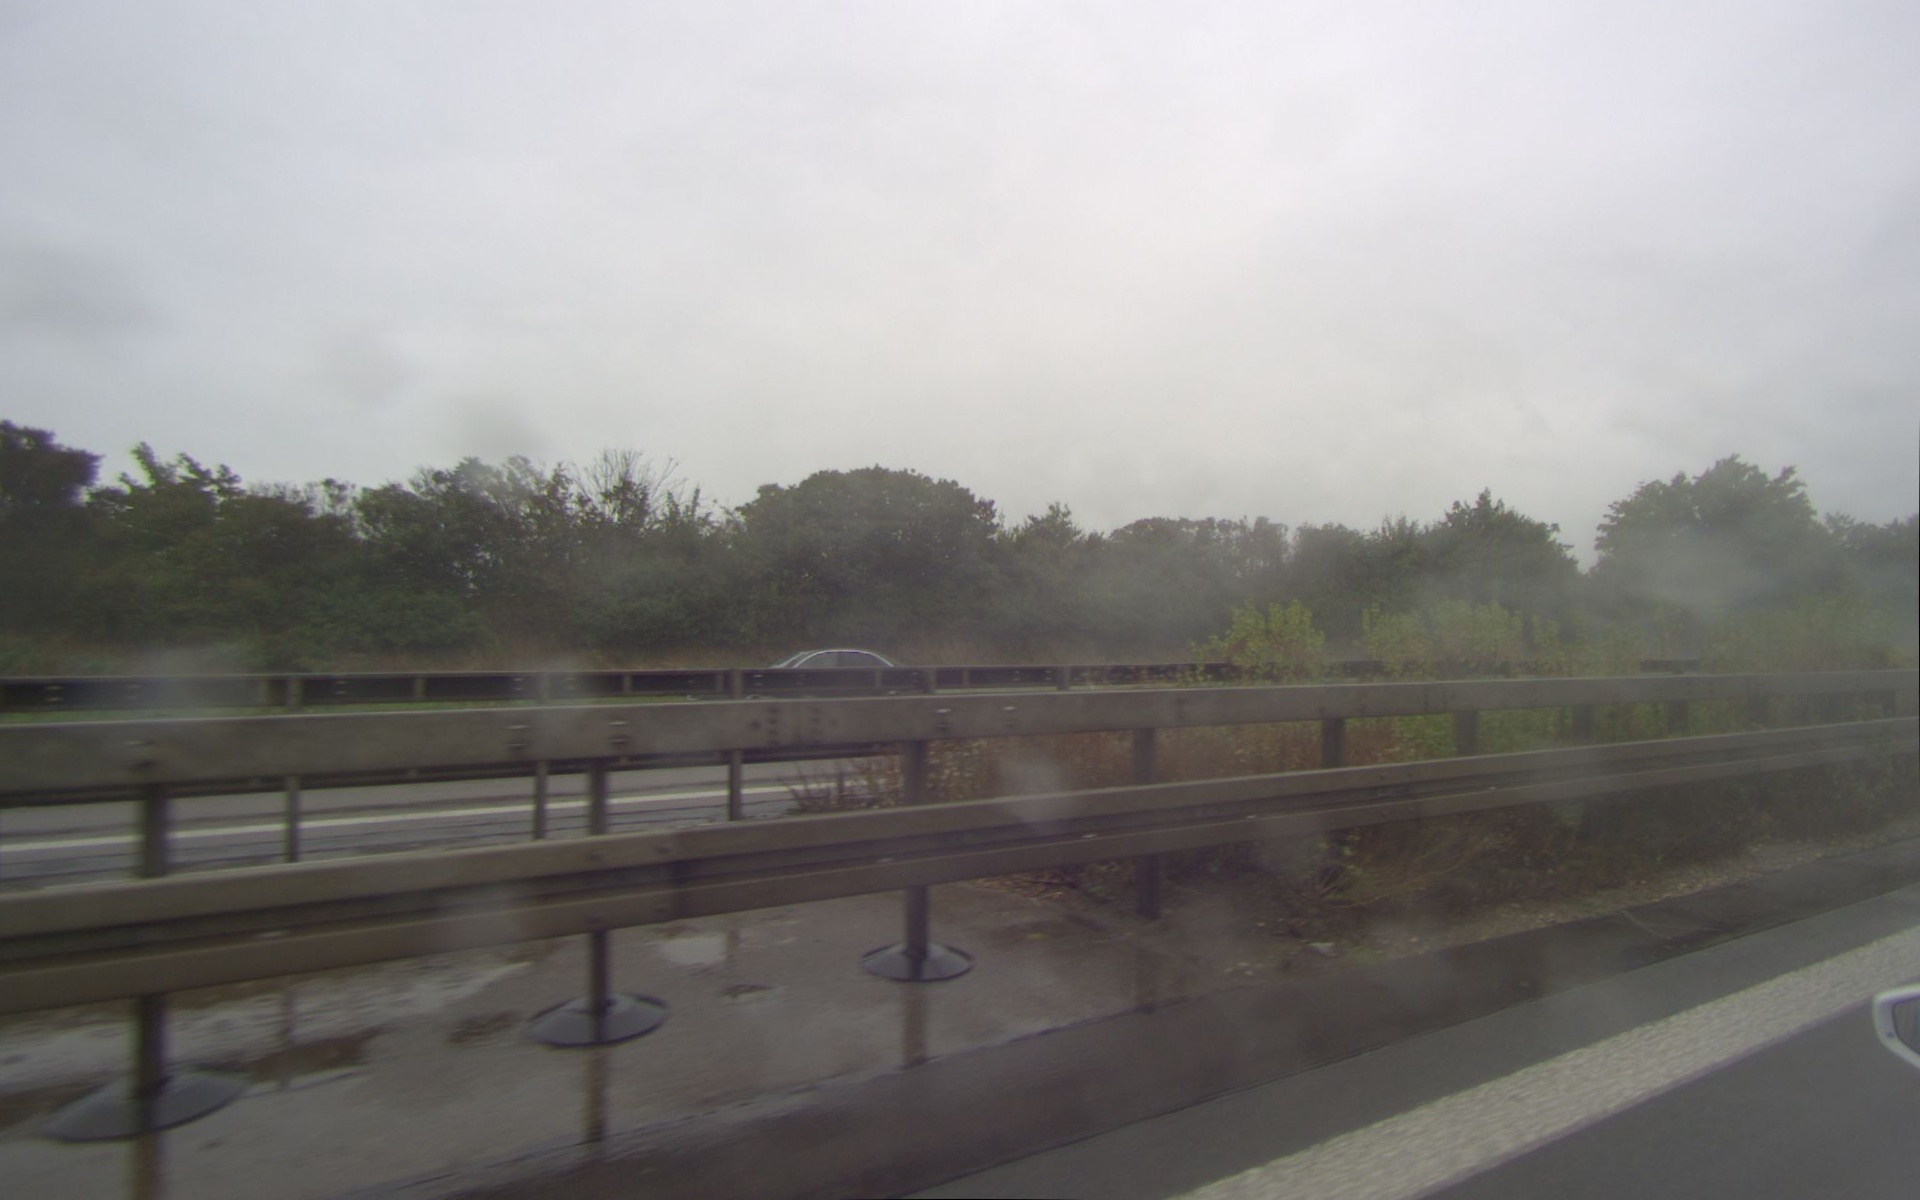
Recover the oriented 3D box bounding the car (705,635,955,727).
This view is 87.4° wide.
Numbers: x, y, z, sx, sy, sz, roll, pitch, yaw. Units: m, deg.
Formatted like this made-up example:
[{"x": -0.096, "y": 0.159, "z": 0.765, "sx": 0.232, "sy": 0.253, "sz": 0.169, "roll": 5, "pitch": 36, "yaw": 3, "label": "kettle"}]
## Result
[{"x": -2.498, "y": 1.492, "z": 19.533, "sx": 4.397, "sy": 1.532, "sz": 1.984, "roll": 1, "pitch": 0, "yaw": -31, "label": "car"}]
